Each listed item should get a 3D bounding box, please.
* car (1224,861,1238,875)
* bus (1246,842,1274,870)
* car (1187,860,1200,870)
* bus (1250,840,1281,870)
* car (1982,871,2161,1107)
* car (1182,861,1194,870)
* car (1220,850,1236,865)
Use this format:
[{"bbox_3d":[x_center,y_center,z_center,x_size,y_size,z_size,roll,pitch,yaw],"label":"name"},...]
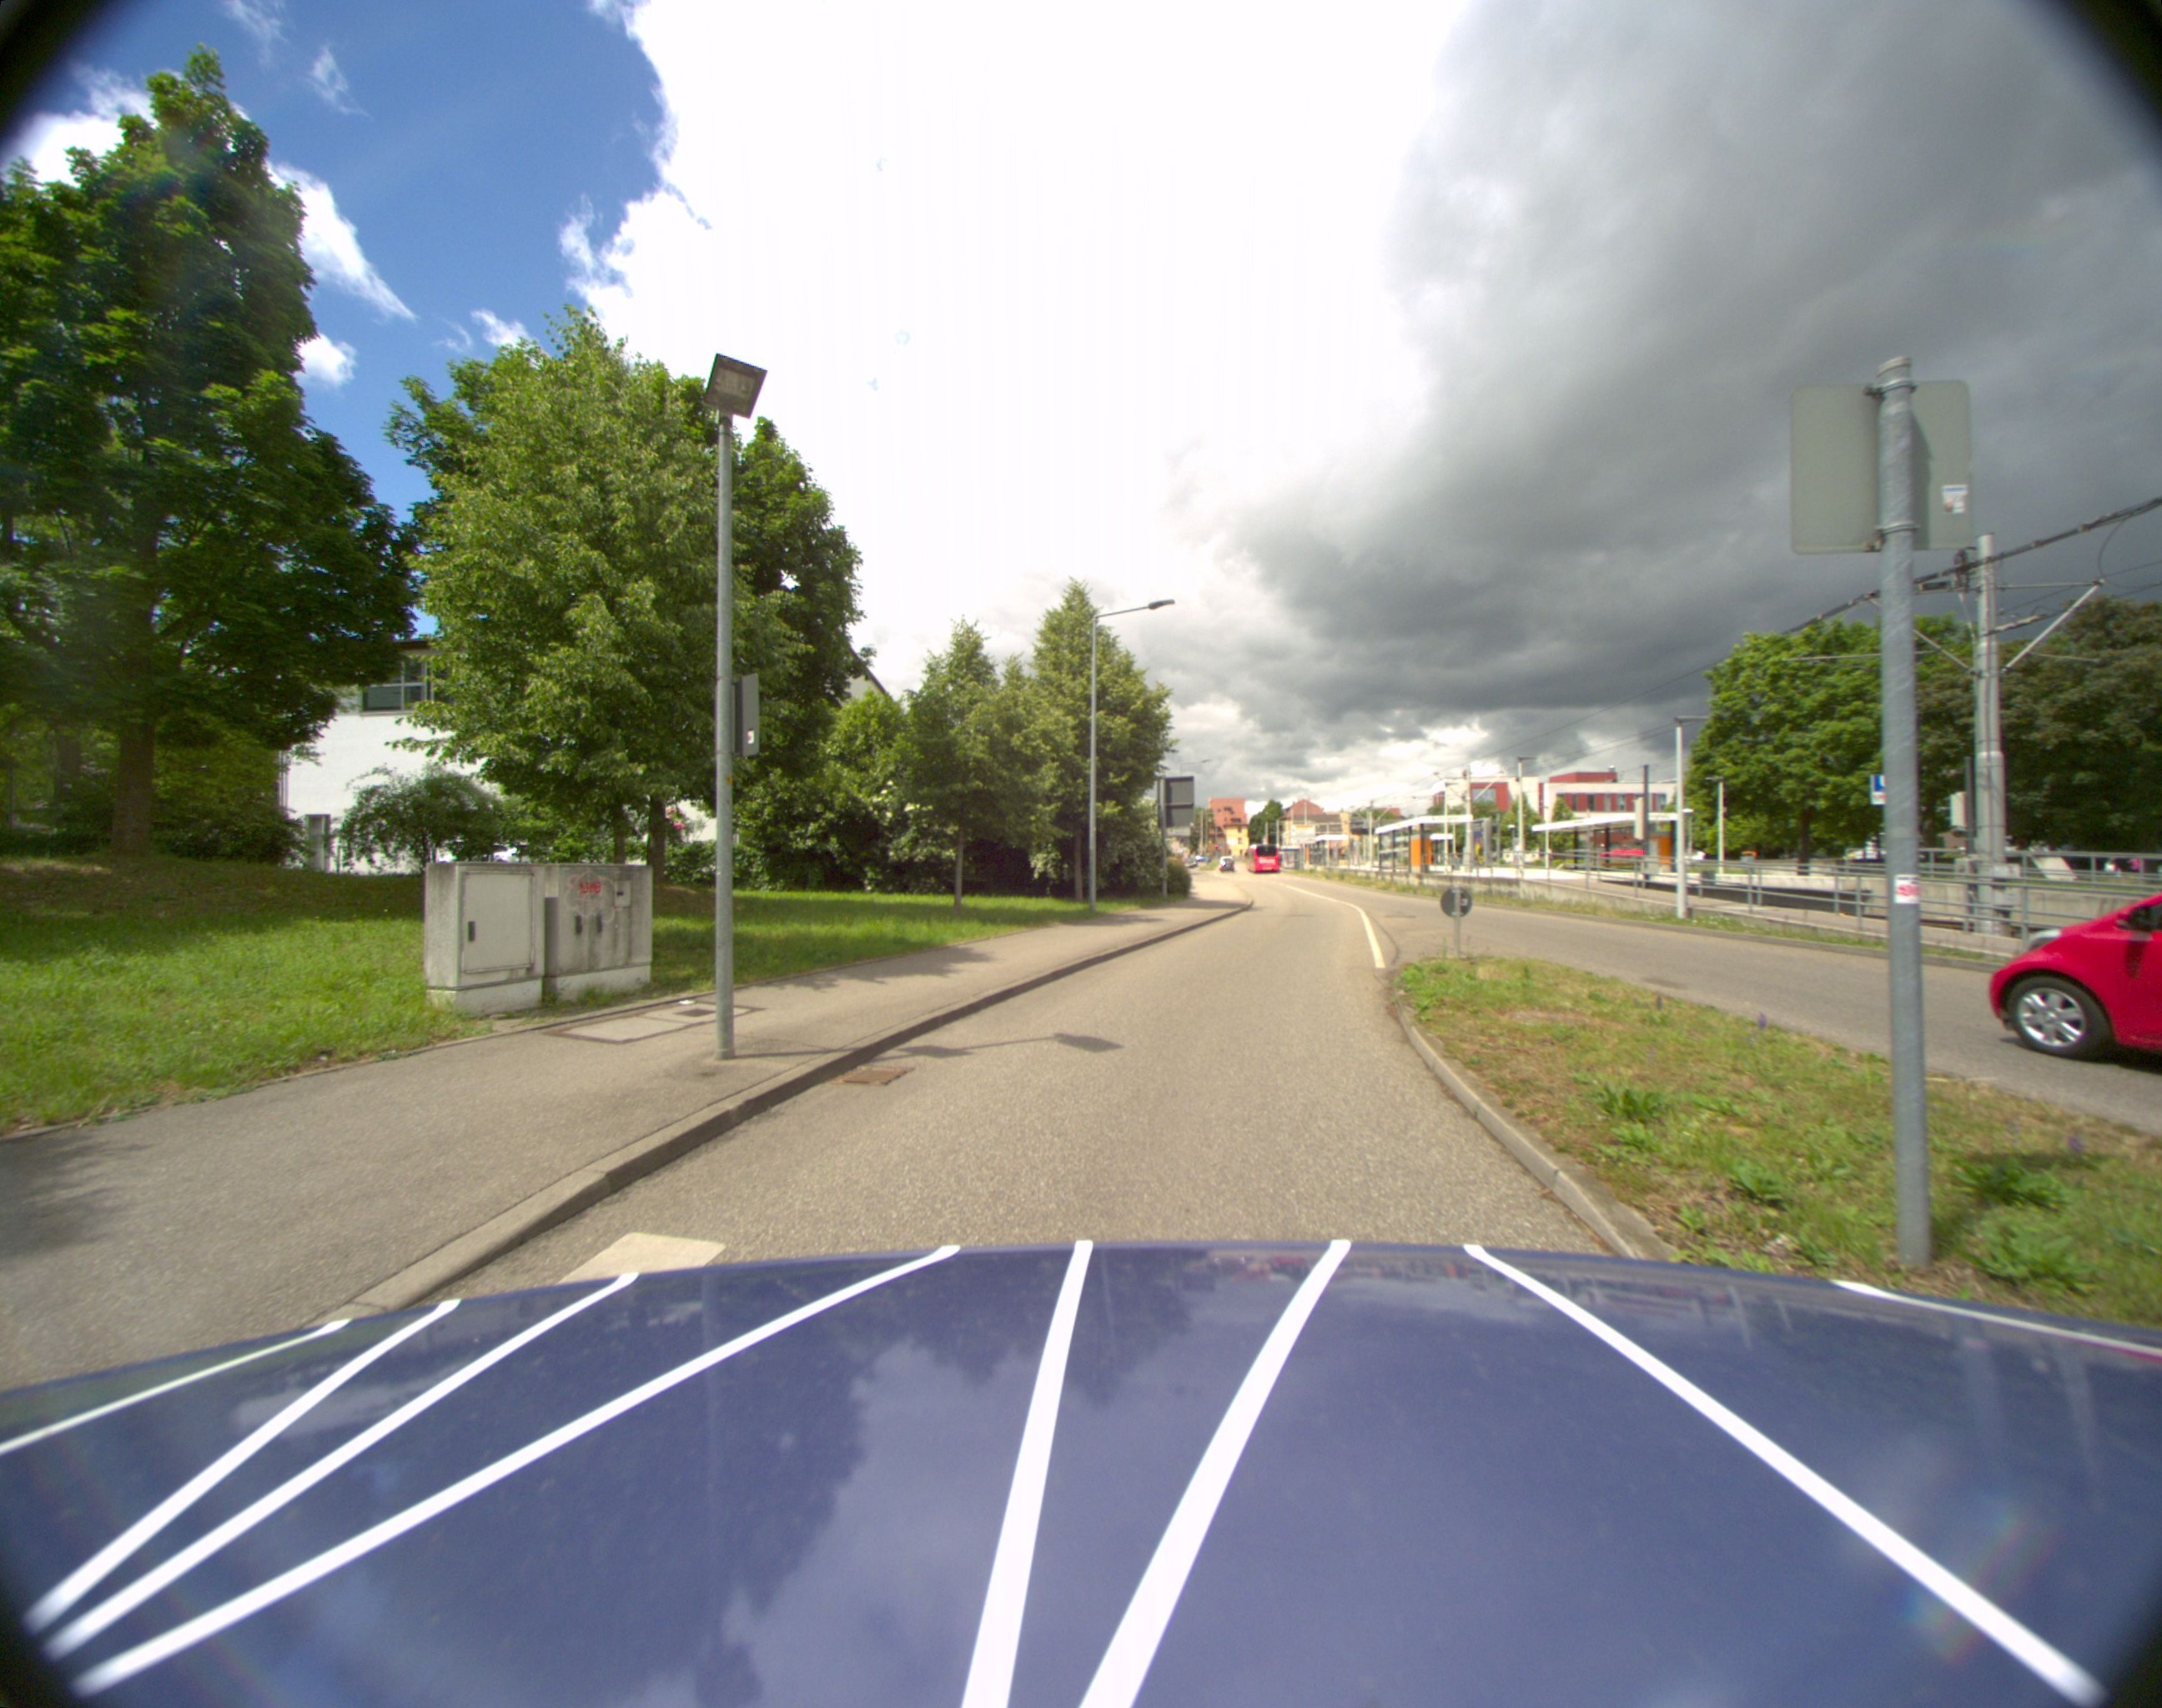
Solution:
[{"bbox_3d":[17.933,1.652,90.589,1.532,1.542,3.736,-2,0,12],"label":"car"},{"bbox_3d":[21.588,0.326,91.953,2.730,3.090,9.715,0,-2,10],"label":"bus"},{"bbox_3d":[18.781,1.850,127.236,1.997,1.639,4.424,0,-2,7],"label":"car"},{"bbox_3d":[19.999,0.153,82.771,2.731,3.051,8.971,0,-1,10],"label":"bus"},{"bbox_3d":[7.693,0.851,4.312,1.723,1.494,2.968,0,-1,4],"label":"car"},{"bbox_3d":[16.998,1.804,121.002,1.881,1.420,4.004,0,-2,7],"label":"car"},{"bbox_3d":[18.853,0.452,97.740,1.765,1.652,4.512,1,-4,7],"label":"car"}]
